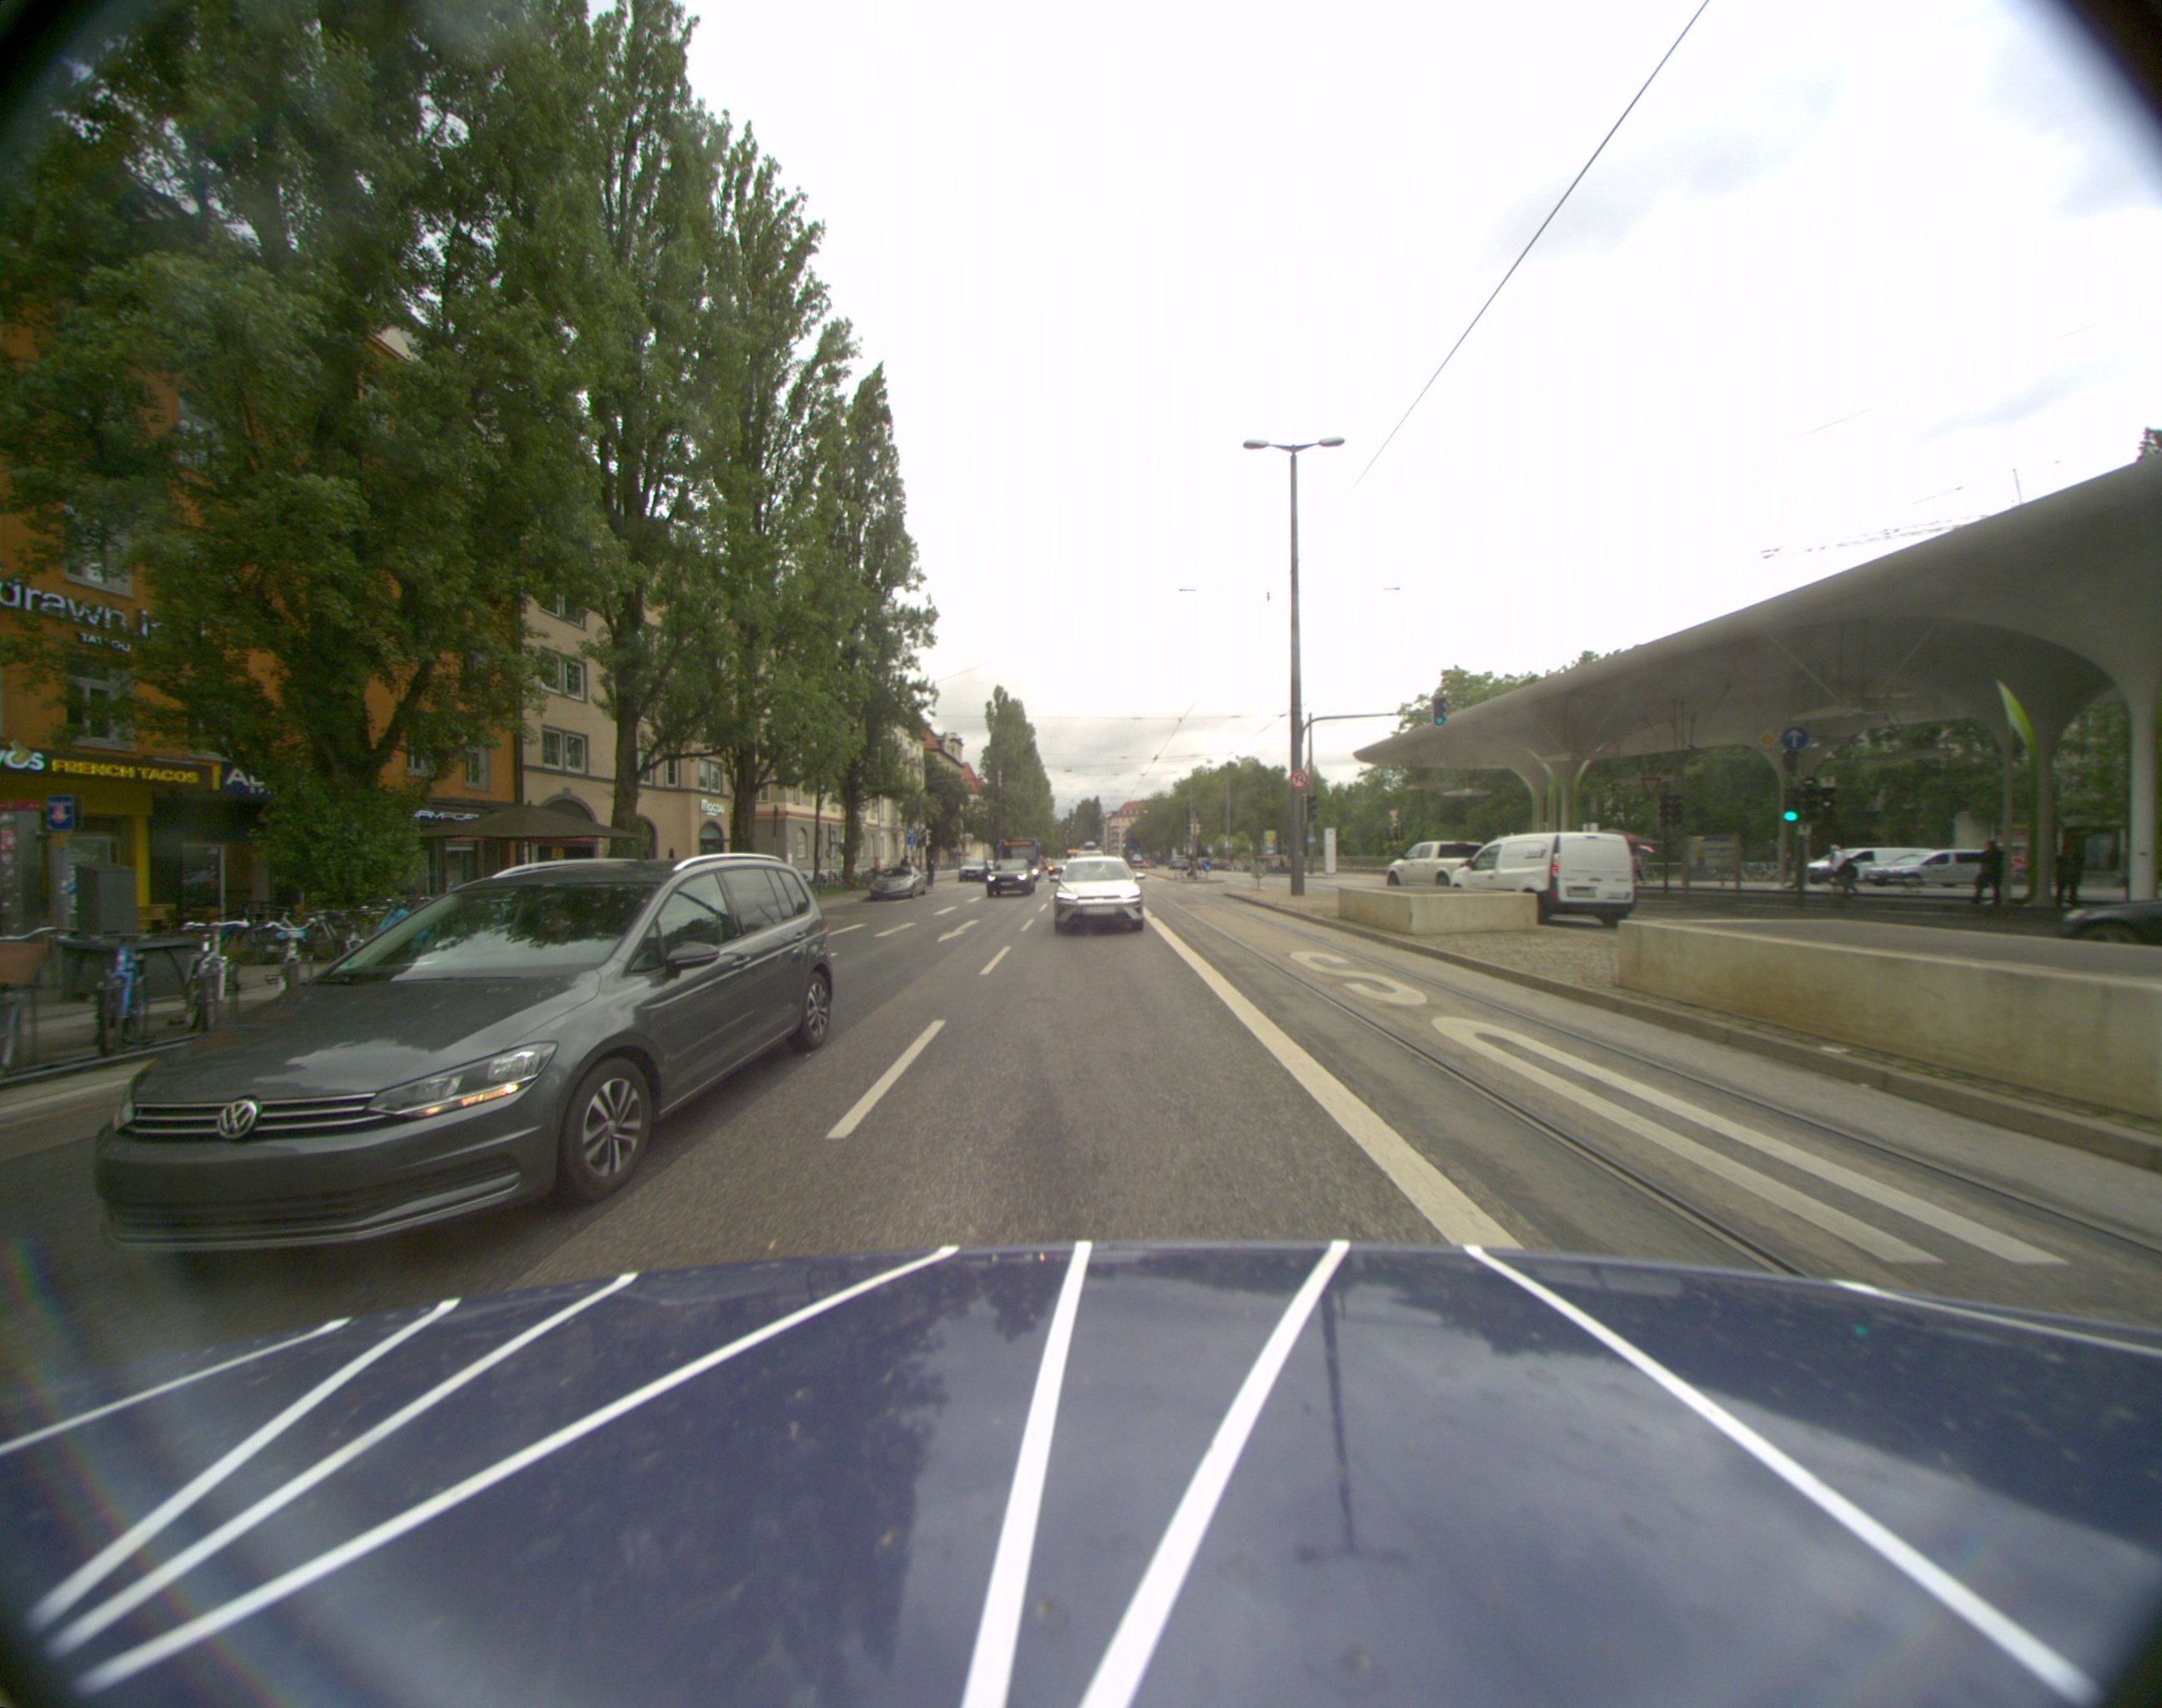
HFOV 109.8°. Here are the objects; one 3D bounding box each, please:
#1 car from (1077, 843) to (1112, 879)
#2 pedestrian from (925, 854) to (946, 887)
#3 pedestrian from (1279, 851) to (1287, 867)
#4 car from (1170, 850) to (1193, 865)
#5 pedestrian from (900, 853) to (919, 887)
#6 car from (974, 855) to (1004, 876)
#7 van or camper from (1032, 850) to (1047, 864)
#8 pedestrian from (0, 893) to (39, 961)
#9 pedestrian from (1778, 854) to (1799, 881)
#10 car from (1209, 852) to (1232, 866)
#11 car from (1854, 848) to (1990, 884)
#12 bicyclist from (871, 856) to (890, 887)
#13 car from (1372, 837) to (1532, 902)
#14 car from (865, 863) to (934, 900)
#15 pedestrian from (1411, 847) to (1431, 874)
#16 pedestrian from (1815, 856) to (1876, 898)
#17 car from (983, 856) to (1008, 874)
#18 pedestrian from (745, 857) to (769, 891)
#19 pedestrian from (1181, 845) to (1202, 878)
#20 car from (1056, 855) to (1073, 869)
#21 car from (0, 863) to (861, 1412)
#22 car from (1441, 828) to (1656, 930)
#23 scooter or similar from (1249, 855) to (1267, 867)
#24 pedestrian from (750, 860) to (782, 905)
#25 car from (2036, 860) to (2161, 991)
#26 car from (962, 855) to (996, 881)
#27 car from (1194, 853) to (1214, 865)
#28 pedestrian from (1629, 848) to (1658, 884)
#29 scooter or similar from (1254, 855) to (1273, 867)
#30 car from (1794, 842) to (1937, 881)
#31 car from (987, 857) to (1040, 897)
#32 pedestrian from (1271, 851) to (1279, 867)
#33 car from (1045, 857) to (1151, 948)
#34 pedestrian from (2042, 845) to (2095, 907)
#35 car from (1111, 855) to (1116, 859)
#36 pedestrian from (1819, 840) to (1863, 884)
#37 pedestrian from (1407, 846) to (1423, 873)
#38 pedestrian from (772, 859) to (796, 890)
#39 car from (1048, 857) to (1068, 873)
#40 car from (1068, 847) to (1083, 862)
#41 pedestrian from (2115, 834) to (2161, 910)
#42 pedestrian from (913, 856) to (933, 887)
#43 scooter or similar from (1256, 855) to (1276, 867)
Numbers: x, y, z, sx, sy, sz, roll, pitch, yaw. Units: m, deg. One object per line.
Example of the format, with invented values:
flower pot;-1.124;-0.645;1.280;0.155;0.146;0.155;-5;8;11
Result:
car;0.819;0.388;46.882;1.998;2.100;4.000;-2;1;1
pedestrian;-8.043;0.896;41.922;0.881;1.791;0.757;-2;0;11
pedestrian;19.584;0.456;73.762;0.632;1.549;0.589;0;1;0
car;11.521;0.399;87.368;1.868;1.629;4.677;1;0;-1
pedestrian;-9.032;0.841;40.074;0.699;1.770;0.652;-2;0;34
car;-7.328;0.881;60.667;1.730;1.567;3.967;0;0;2
van or camper;-6.518;0.423;119.700;2.124;2.086;5.513;-1;0;0
pedestrian;-19.868;1.333;13.945;0.624;1.211;0.583;-1;1;0
pedestrian;40.576;0.774;43.567;0.635;1.573;0.636;-1;1;1
car;16.237;0.556;88.649;1.864;1.517;4.233;0;0;1
car;39.277;0.534;35.589;3.994;1.606;1.832;-1;0;9
bicyclist;-10.441;0.884;39.630;0.681;1.594;0.939;-1;1;1
car;11.937;0.442;25.107;2.181;1.876;6.155;1;0;-1
car;-7.847;1.144;33.323;1.999;1.432;4.528;-1;0;-1
pedestrian;20.238;0.378;45.228;0.739;1.619;0.741;-1;1;-20
pedestrian;22.962;0.678;22.846;0.811;1.223;1.272;-1;1;19
car;-7.342;0.950;65.806;1.730;1.500;3.742;-1;0;0
pedestrian;-16.628;1.014;39.000;0.748;1.675;1.017;-1;1;1
pedestrian;6.287;0.410;43.342;0.861;1.801;0.896;-2;1;-16
car;-1.765;0.851;82.426;1.704;1.360;3.632;-1;0;1
car;-3.070;0.963;4.800;1.776;1.637;4.708;-3;0;2
car;9.497;0.448;15.912;1.791;1.844;4.217;0;0;-2
scooter or similar;17.396;0.655;74.680;1.695;1.165;0.561;-1;0;-18
pedestrian;-11.044;0.993;26.638;0.761;1.553;0.763;-1;0;2
car;12.302;0.778;6.800;1.677;1.370;4.613;1;0;0
car;-7.429;0.987;55.702;1.737;1.651;4.501;-6;0;0
car;16.009;0.616;98.777;1.998;1.561;4.101;-1;0;1
pedestrian;25.844;0.533;34.900;0.749;1.600;0.837;-1;1;-28
scooter or similar;17.415;0.659;72.499;1.692;1.165;0.562;-1;1;-2
car;39.980;0.382;38.846;4.923;1.936;1.872;0;1;11
car;-2.813;0.937;32.474;1.780;1.495;3.970;-3;1;1
pedestrian;18.783;0.497;73.633;0.632;1.549;0.589;0;1;0
car;0.389;0.865;15.838;1.812;1.496;4.953;-2;0;2
pedestrian;24.768;0.538;19.065;0.594;1.536;0.636;-1;1;-17
car;11.369;1.038;262.923;1.628;1.473;3.602;-1;0;1
pedestrian;35.549;0.359;35.557;1.003;2.002;1.027;-1;1;5
pedestrian;21.490;0.354;48.864;0.735;1.706;0.861;-1;1;11
pedestrian;-15.632;1.059;40.021;0.848;1.593;0.823;-1;1;7
car;-2.148;0.981;72.377;1.704;1.425;4.245;-1;0;1
car;-1.062;0.124;147.674;2.806;2.836;5.114;-1;0;1
pedestrian;24.706;0.405;17.608;0.670;1.718;0.812;0;1;38
pedestrian;-8.496;0.928;40.738;0.758;1.628;0.699;-1;0;-42
scooter or similar;17.343;0.665;71.316;1.692;1.165;0.562;-1;1;-2
